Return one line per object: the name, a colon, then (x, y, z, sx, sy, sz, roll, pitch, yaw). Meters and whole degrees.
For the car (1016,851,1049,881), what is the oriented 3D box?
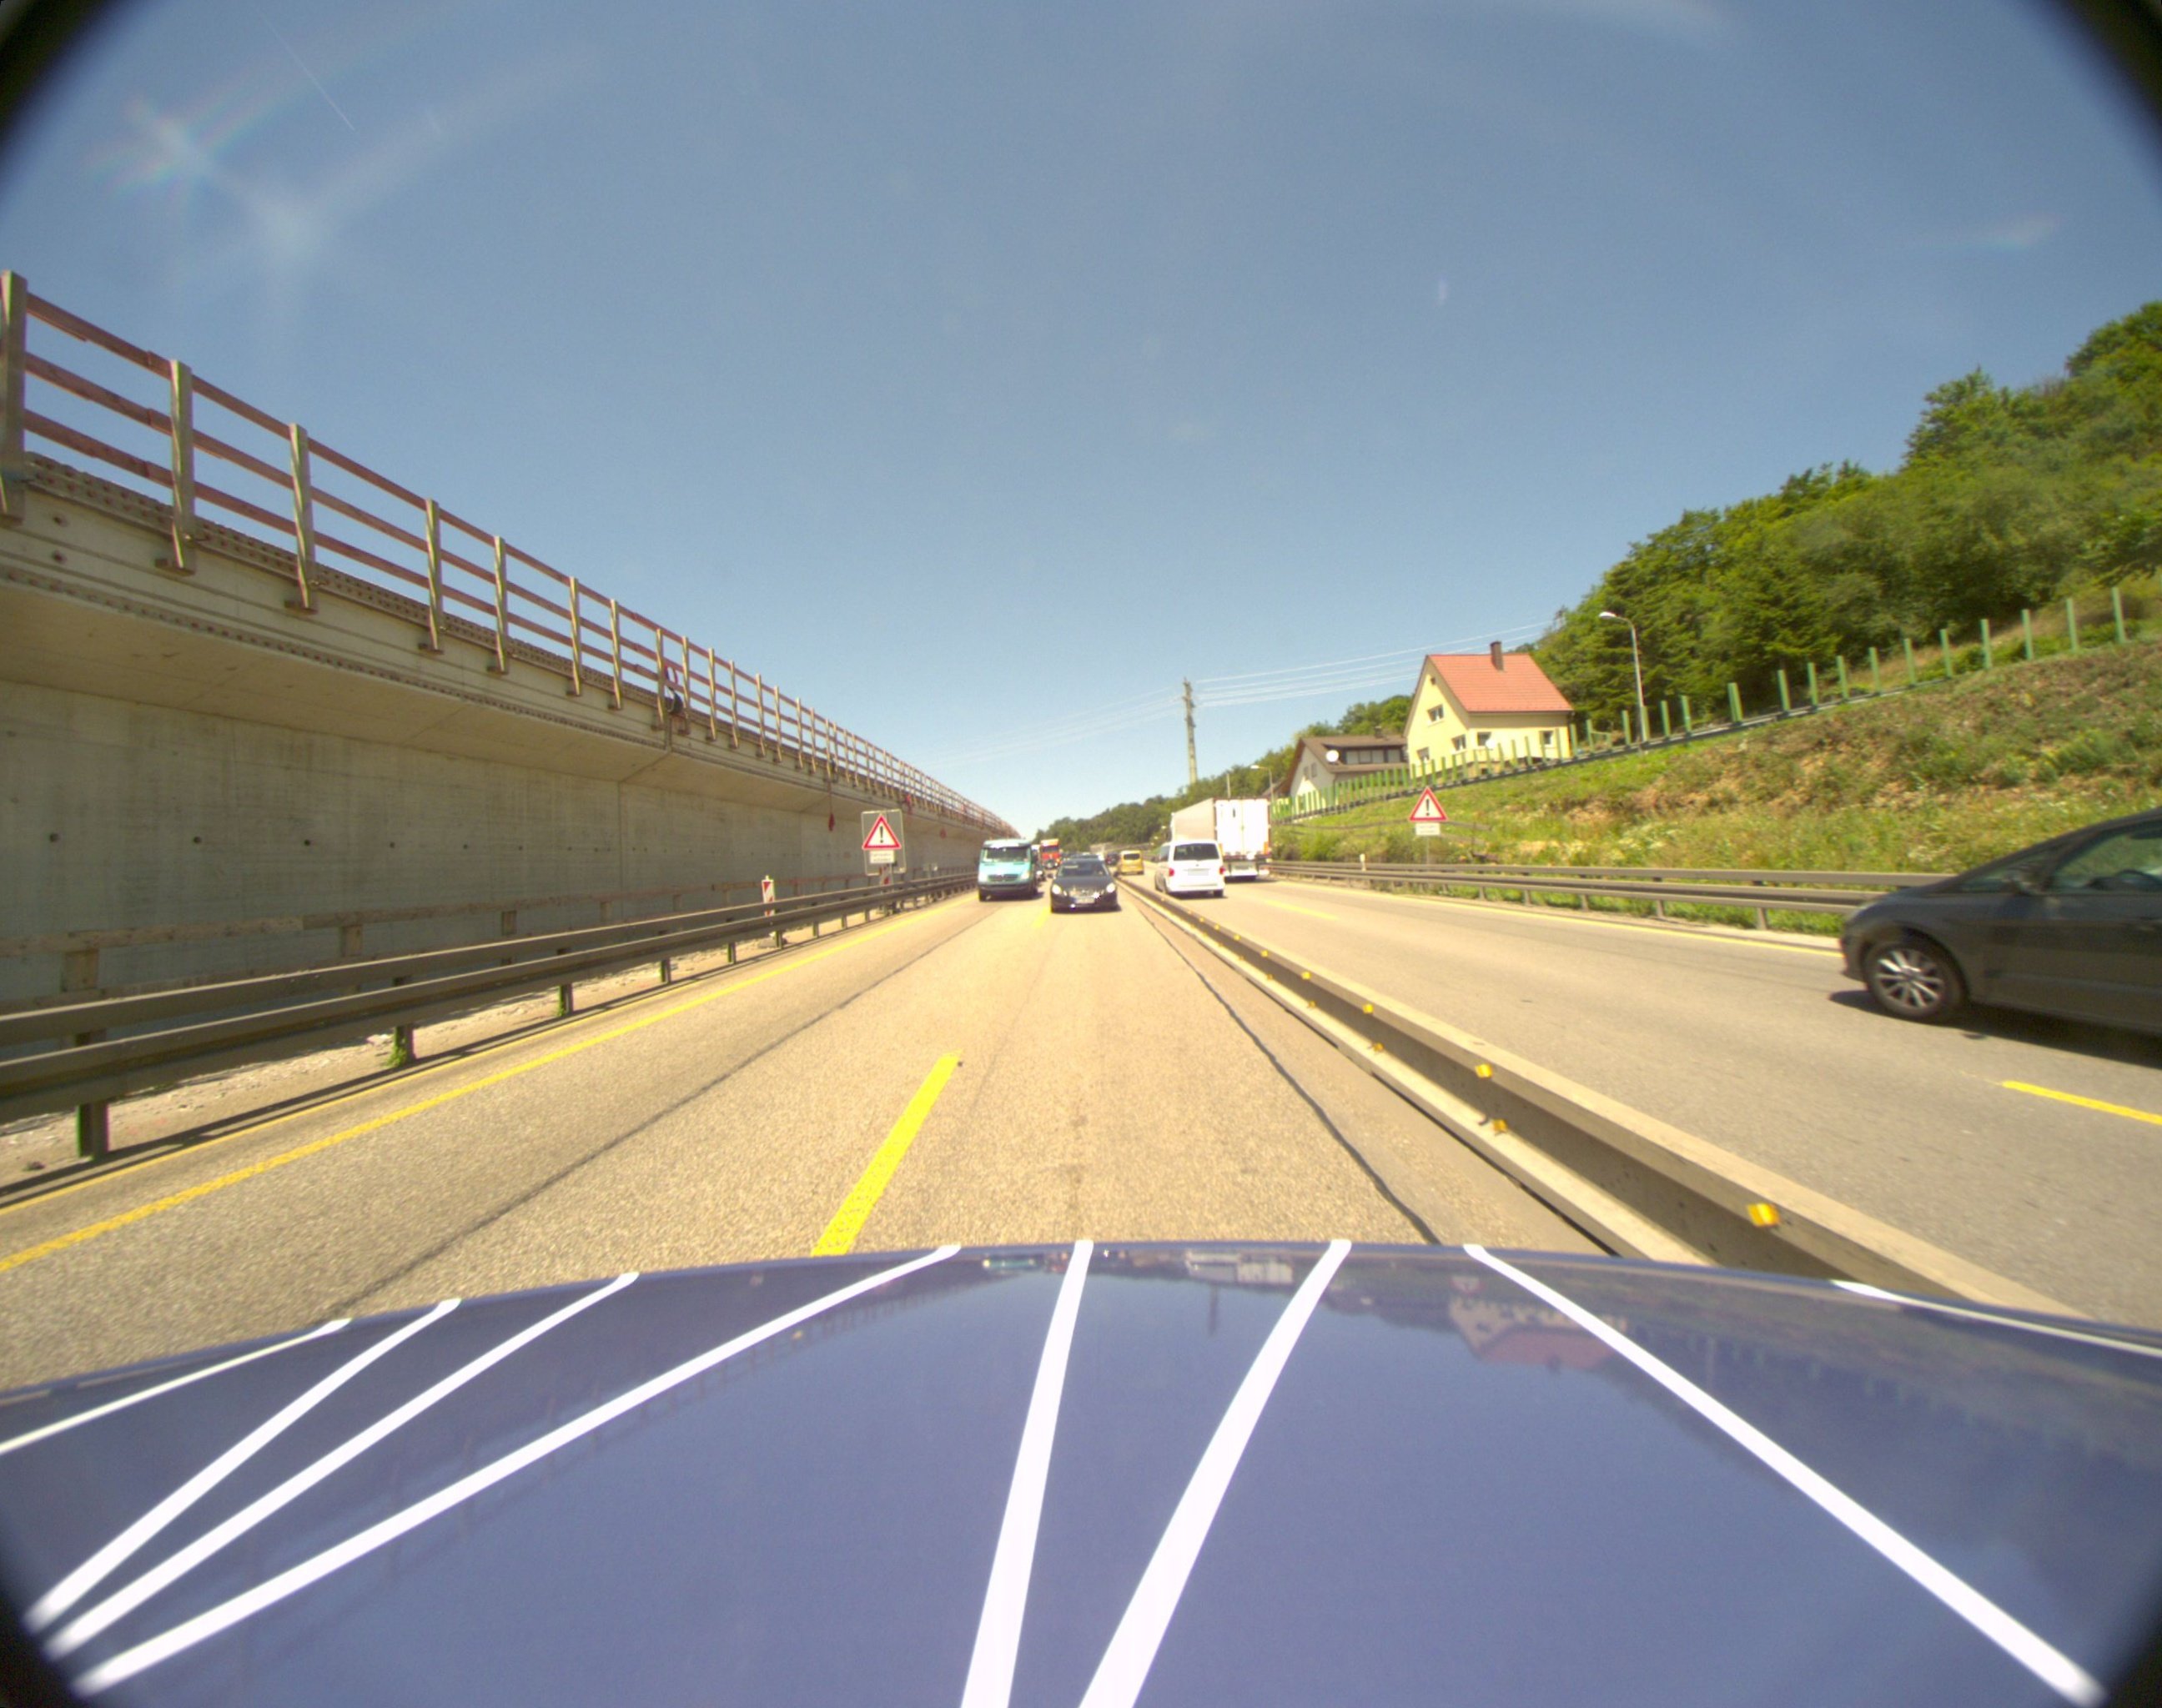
car: (-3.183, 0.749, 50.633, 1.885, 1.805, 4.250, -2, 1, 0)

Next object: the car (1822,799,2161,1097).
car: (7.299, 0.518, 4.114, 1.998, 1.745, 4.687, -2, 1, 0)

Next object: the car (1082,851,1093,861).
car: (1.242, 0.342, 146.970, 1.885, 1.805, 4.000, -2, 1, 2)

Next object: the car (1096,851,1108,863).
car: (3.268, 0.454, 118.290, 1.885, 1.805, 4.000, -2, 1, 2)

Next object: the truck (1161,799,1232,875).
truck: (7.259, -1.065, 48.947, 3.111, 4.368, 8.505, -2, 1, 0)

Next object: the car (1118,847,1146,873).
car: (3.806, 0.428, 57.309, 1.885, 1.805, 4.000, -2, 1, 2)

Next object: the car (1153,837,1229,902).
car: (3.699, 0.490, 26.175, 1.998, 2.002, 4.166, -2, 0, 1)

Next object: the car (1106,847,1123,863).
car: (3.855, 0.080, 88.384, 1.885, 1.805, 4.000, -2, 1, 2)

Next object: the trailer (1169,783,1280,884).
trailer: (7.300, -1.001, 41.557, 3.111, 4.416, 14.626, -2, 1, 0)

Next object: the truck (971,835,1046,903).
truck: (-2.730, 0.491, 30.540, 2.139, 2.343, 7.432, -2, 1, 1)

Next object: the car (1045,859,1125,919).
car: (0.135, 0.918, 21.932, 1.998, 1.440, 4.601, -2, 0, 1)

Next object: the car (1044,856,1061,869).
car: (-3.505, 1.053, 94.220, 1.883, 1.532, 4.281, -2, 1, 0)

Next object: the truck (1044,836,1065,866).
truck: (-3.903, -0.493, 114.651, 2.750, 4.222, 9.093, -2, 1, 0)

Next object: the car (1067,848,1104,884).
car: (0.316, 0.600, 42.298, 1.885, 1.805, 4.250, -2, 1, 2)
